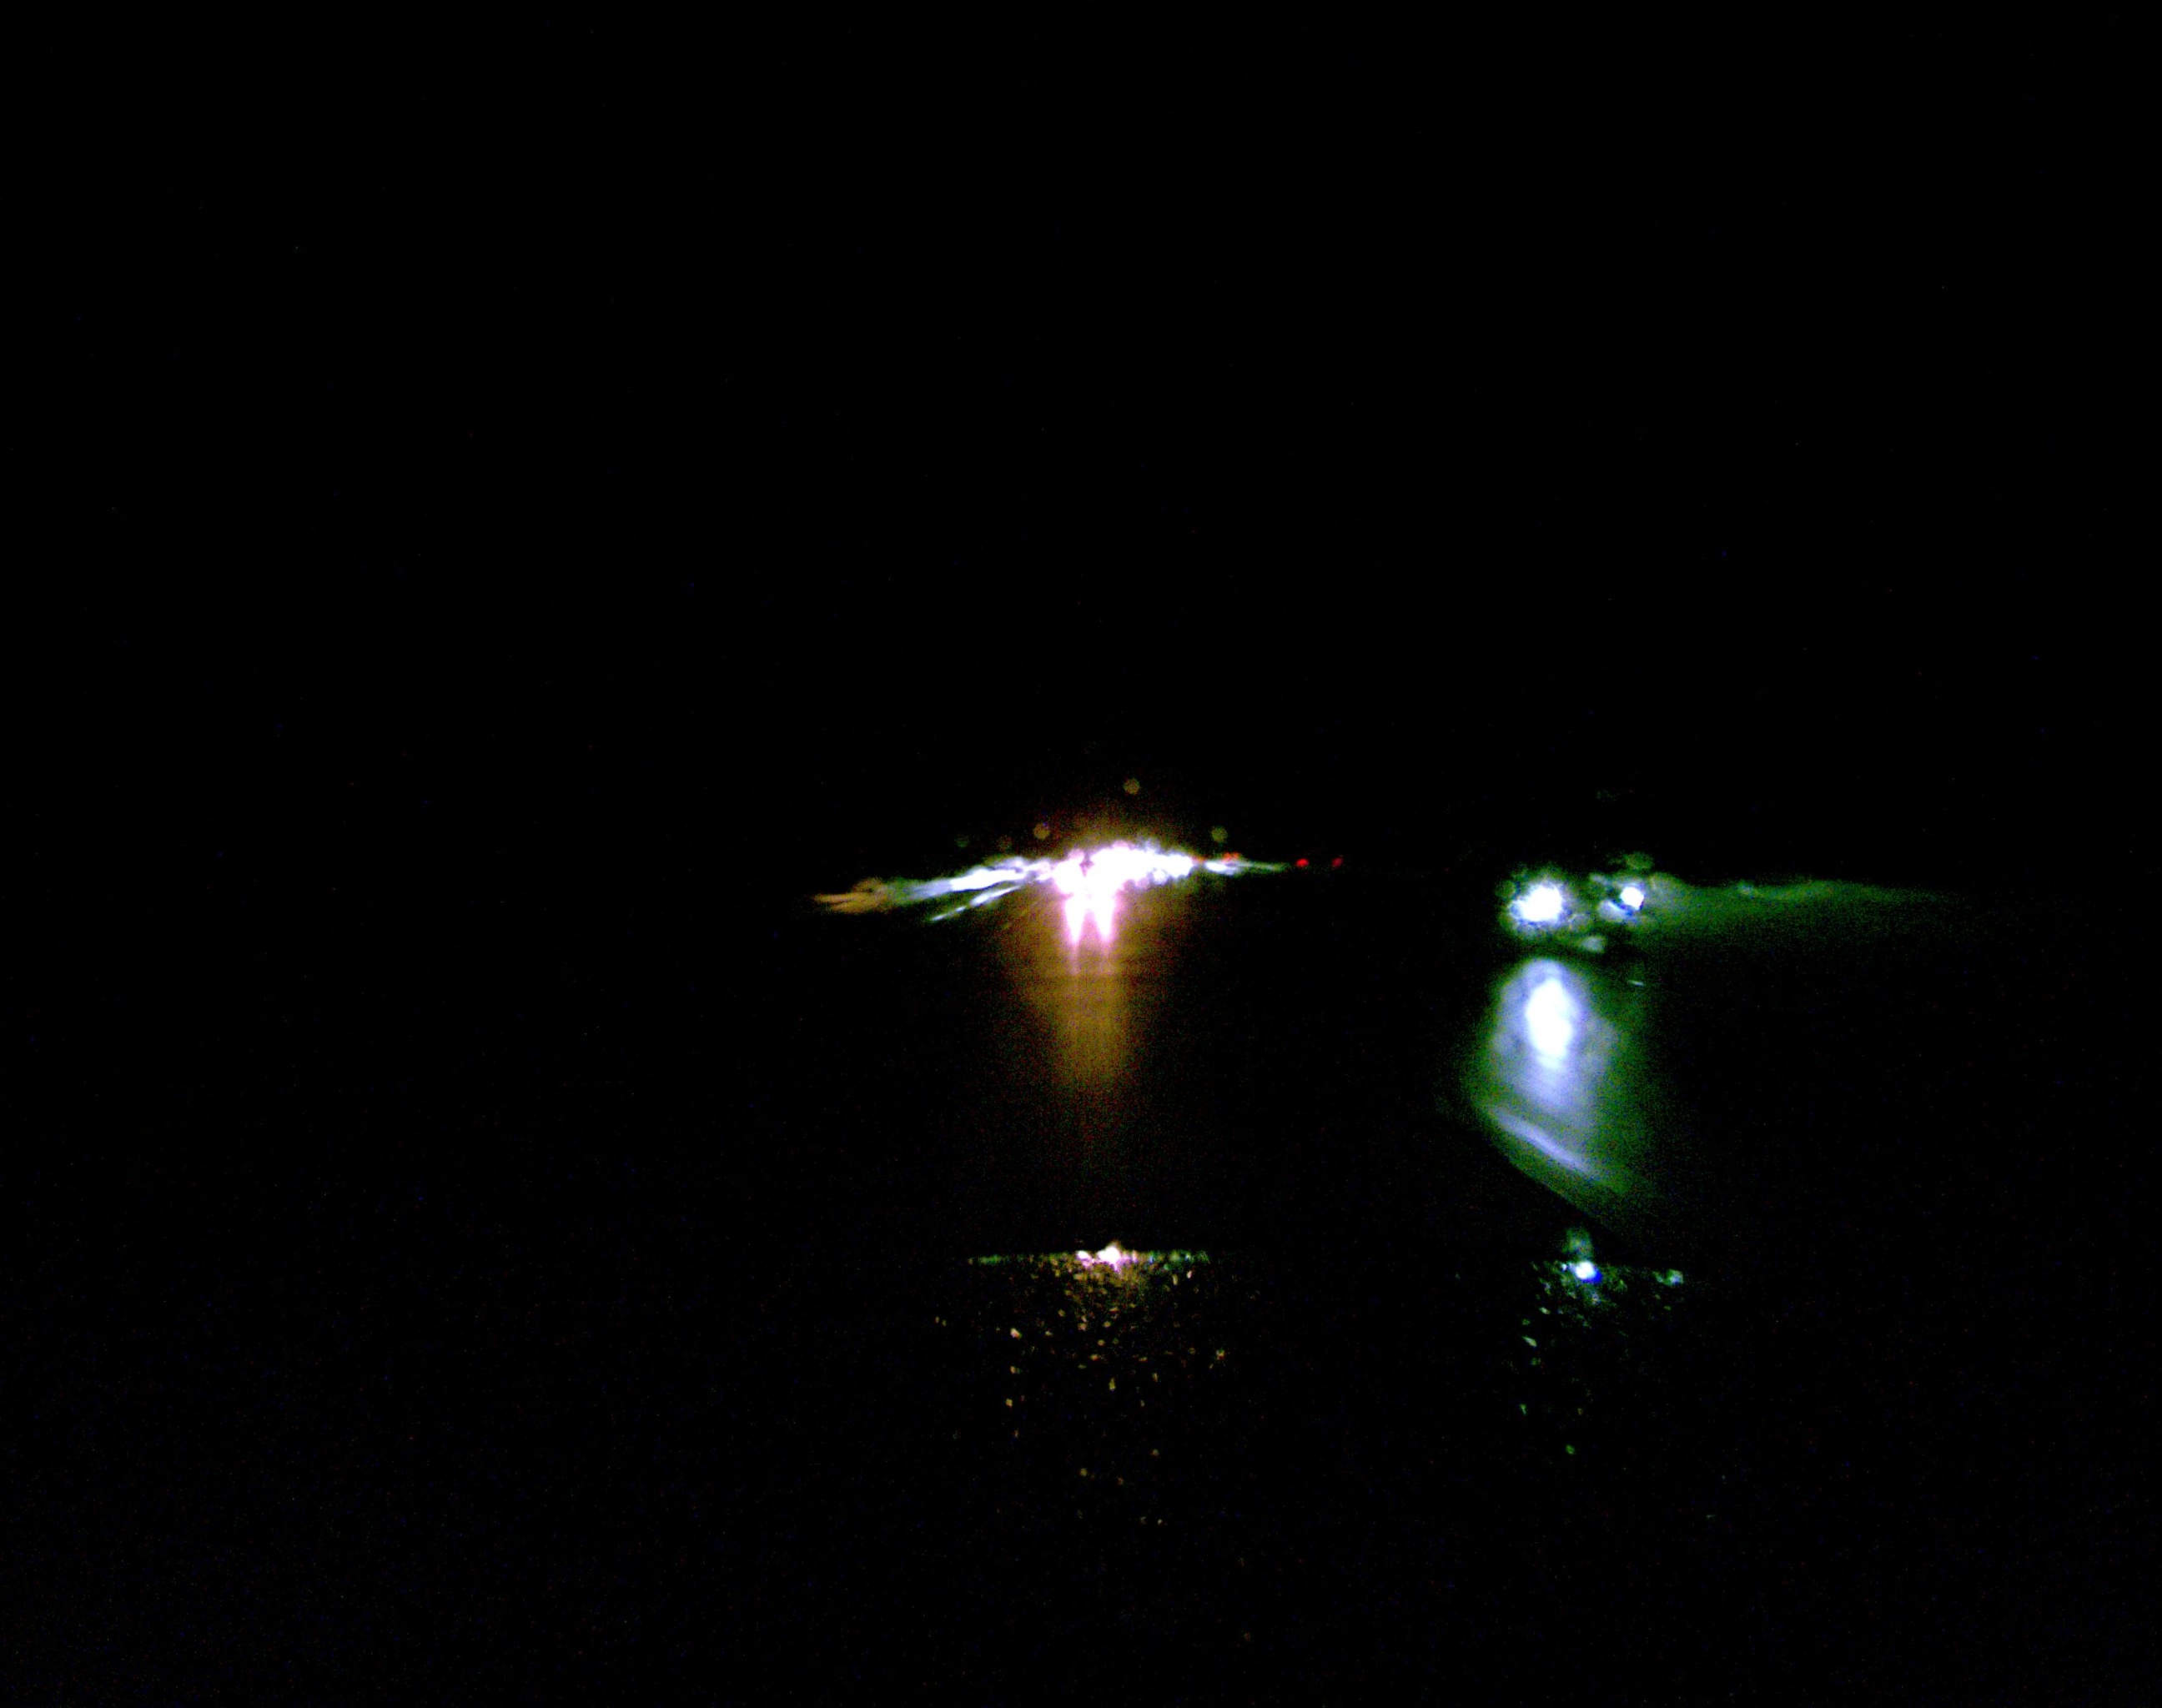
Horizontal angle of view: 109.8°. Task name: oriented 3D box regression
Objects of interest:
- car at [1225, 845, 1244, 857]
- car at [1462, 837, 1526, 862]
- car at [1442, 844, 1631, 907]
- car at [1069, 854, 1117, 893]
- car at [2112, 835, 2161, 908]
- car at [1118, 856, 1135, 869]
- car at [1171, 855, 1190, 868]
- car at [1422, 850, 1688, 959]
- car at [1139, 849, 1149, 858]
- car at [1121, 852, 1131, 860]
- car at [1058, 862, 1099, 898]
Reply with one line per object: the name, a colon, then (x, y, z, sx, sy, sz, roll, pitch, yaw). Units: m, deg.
car: (22.606, -0.444, 112.004, 1.885, 1.548, 4.459, -2, 1, -1)
car: (28.155, -0.308, 51.985, 1.885, 1.548, 4.459, -2, 1, -1)
car: (12.305, 0.488, 21.043, 1.999, 1.468, 5.163, -2, 1, -2)
car: (0.545, 0.877, 34.066, 1.998, 1.542, 4.001, -2, -1, 1)
car: (24.505, 0.388, 15.127, 1.885, 1.548, 4.459, -2, 1, -1)
car: (6.072, 1.084, 101.946, 1.998, 1.551, 4.587, -2, 1, 1)
car: (13.002, 0.926, 99.671, 1.998, 1.551, 4.587, -2, 1, 1)
car: (7.633, 0.712, 12.796, 1.998, 1.433, 3.999, -2, 1, 1)
car: (14.132, -0.139, 171.450, 1.998, 1.797, 4.000, -2, 1, 2)
car: (9.739, 0.349, 165.388, 1.998, 1.551, 4.587, -2, 1, 1)
car: (-0.077, 1.051, 31.366, 1.525, 1.256, 3.368, -2, 1, 1)
